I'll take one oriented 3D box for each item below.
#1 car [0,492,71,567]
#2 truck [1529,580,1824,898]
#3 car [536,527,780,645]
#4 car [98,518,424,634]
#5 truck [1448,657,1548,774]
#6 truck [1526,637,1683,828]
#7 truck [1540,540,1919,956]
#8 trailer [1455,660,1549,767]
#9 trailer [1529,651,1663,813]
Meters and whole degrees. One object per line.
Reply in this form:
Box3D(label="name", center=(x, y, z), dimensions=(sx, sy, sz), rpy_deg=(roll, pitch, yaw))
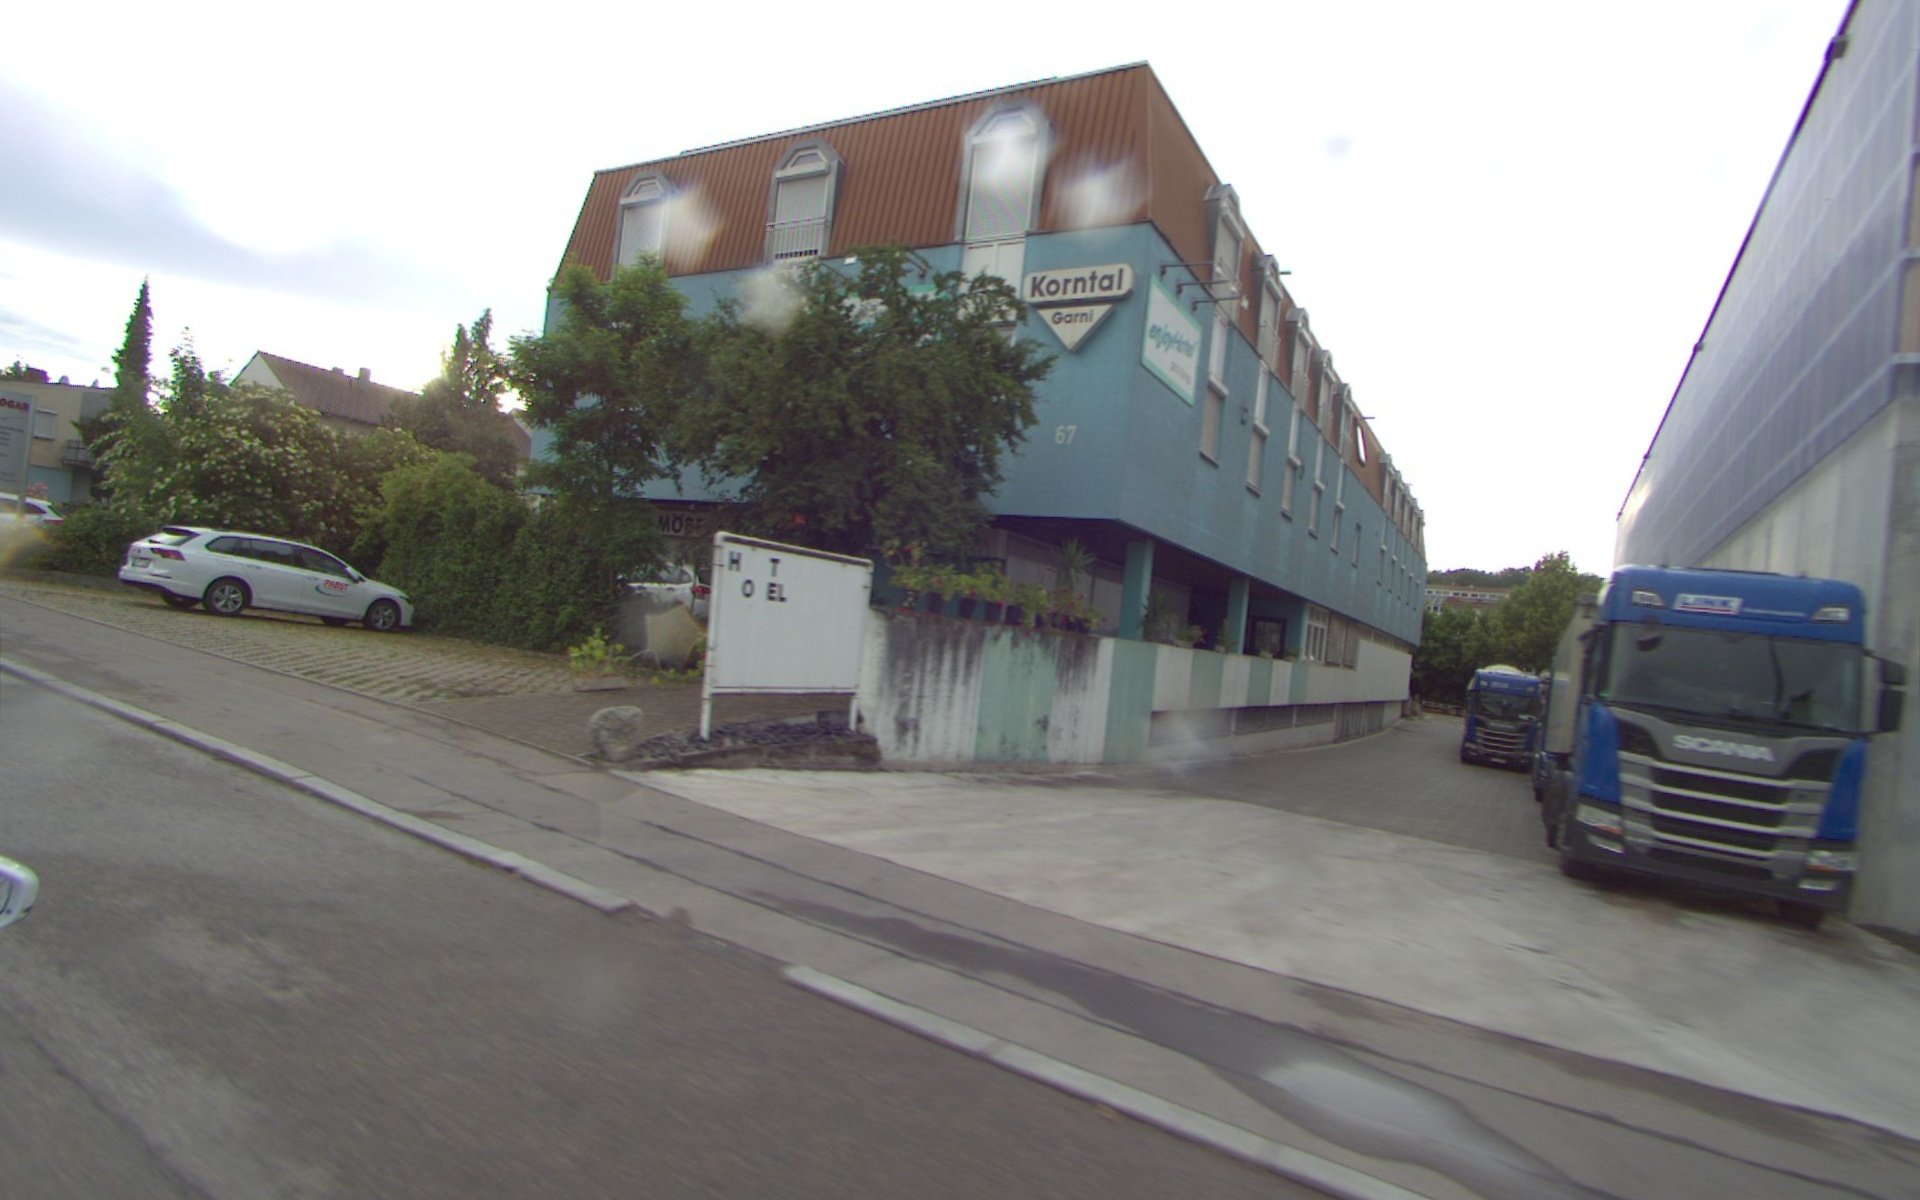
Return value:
Box3D(label="car", center=(-22.411, -1.795, 21.731), dimensions=(1.871, 1.492, 4.348), rpy_deg=(6, -2, 30))
Box3D(label="truck", center=(11.398, 2.192, 16.897), dimensions=(2.676, 3.748, 8.561), rpy_deg=(6, -3, 29))
Box3D(label="car", center=(-6.017, -0.290, 19.969), dimensions=(4.353, 1.760, 1.999), rpy_deg=(6, -2, 29))
Box3D(label="car", center=(-12.491, -0.357, 18.322), dimensions=(1.848, 1.408, 4.427), rpy_deg=(6, -3, 30))
Box3D(label="truck", center=(21.424, 4.478, 39.930), dimensions=(2.930, 3.950, 5.777), rpy_deg=(6, -1, 30))
Box3D(label="truck", center=(16.161, 3.303, 25.569), dimensions=(2.674, 3.964, 6.094), rpy_deg=(6, -3, 30))
Box3D(label="truck", center=(8.663, 1.611, 11.843), dimensions=(2.673, 3.711, 4.160), rpy_deg=(6, -4, 28))
Box3D(label="trailer", center=(24.390, 4.952, 45.135), dimensions=(3.021, 3.967, 9.350), rpy_deg=(6, -1, 30))
Box3D(label="trailer", center=(19.277, 3.955, 31.015), dimensions=(2.676, 3.903, 9.932), rpy_deg=(6, -3, 30))
